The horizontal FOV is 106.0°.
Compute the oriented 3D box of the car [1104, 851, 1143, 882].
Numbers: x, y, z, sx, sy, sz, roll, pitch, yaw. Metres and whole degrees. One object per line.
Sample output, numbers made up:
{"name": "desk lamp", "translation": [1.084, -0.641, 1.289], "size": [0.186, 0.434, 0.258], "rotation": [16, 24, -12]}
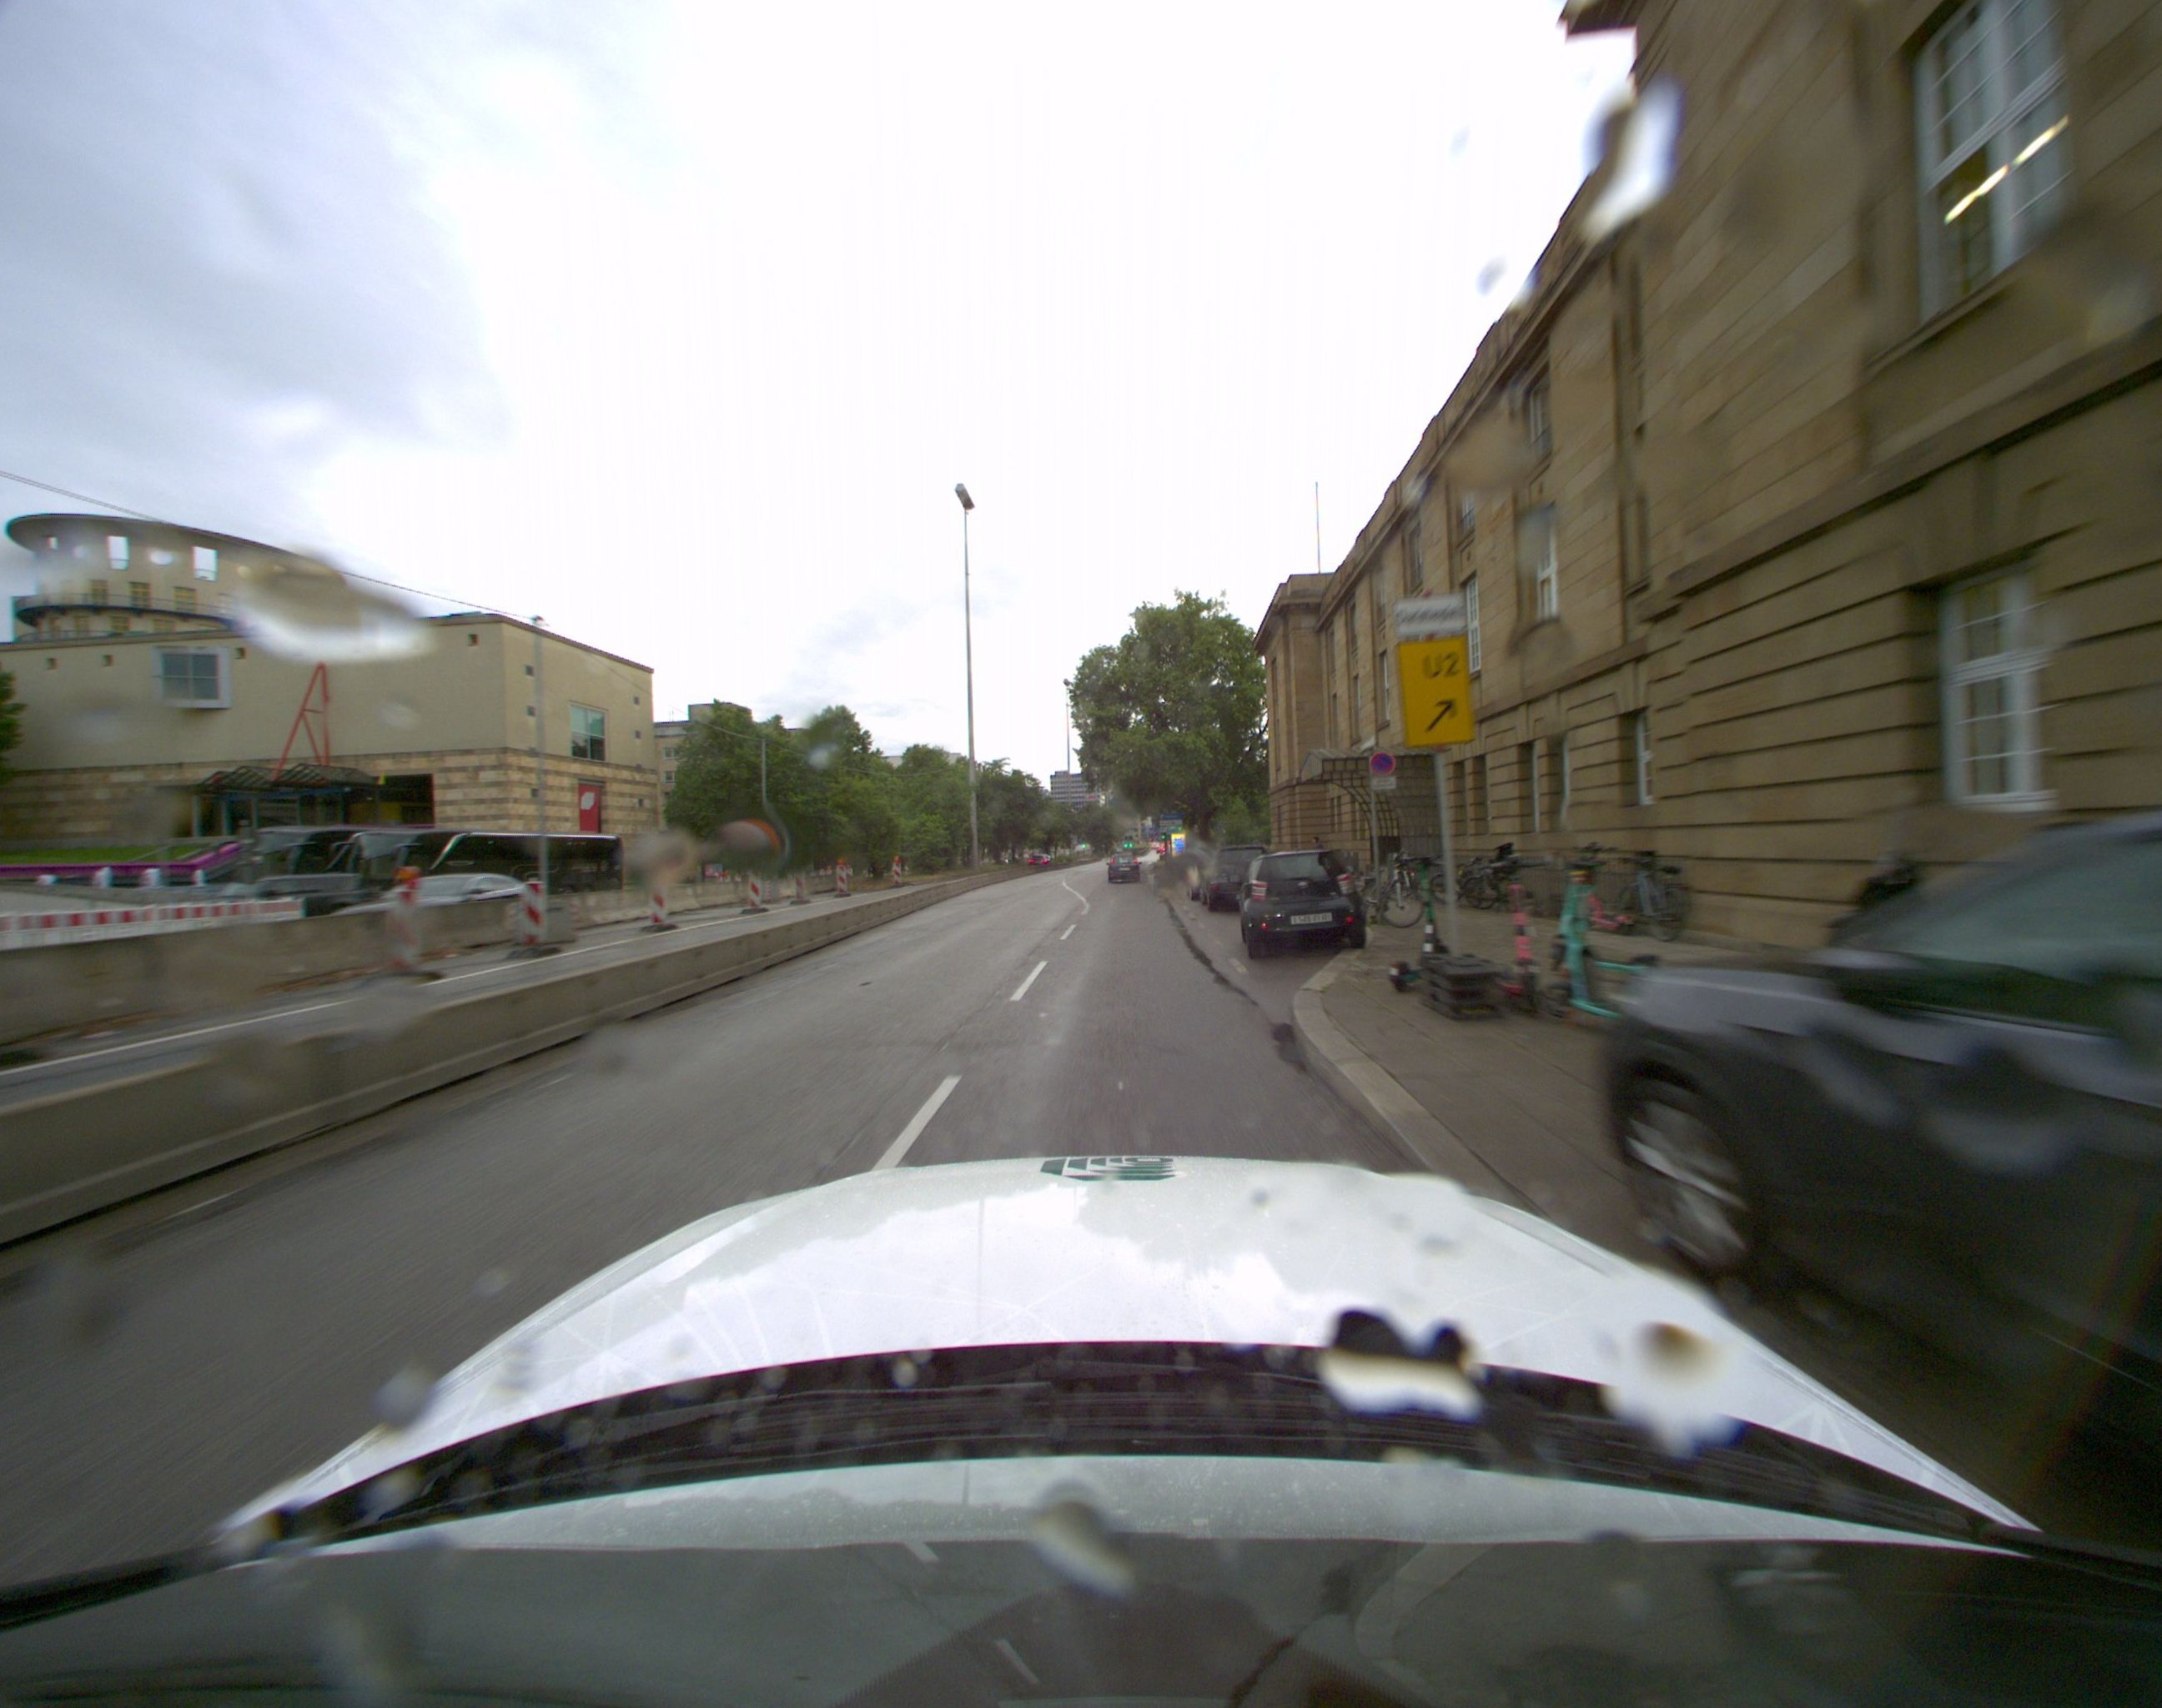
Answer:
{"name": "car", "translation": [2.175, 0.632, 42.271], "size": [1.837, 1.416, 3.840], "rotation": [-3, -1, 1]}

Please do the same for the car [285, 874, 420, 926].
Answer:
{"name": "car", "translation": [-24.925, 1.534, 28.011], "size": [1.585, 1.500, 3.215], "rotation": [-4, 0, 1]}

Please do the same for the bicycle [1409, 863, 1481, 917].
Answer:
{"name": "bicycle", "translation": [7.664, 0.725, 17.220], "size": [0.710, 1.051, 1.740], "rotation": [-1, 0, -1]}

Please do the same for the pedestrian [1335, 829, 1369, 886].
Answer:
{"name": "pedestrian", "translation": [8.851, 0.111, 26.632], "size": [0.791, 1.777, 0.643], "rotation": [-4, -1, 4]}

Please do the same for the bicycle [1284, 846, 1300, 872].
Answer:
{"name": "bicycle", "translation": [10.345, 0.226, 40.030], "size": [0.451, 1.251, 1.601], "rotation": [0, 0, 3]}

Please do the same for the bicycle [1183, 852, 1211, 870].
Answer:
{"name": "bicycle", "translation": [6.787, 0.402, 47.780], "size": [1.581, 0.994, 0.525], "rotation": [-1, 0, 6]}

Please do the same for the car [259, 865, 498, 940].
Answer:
{"name": "car", "translation": [-14.640, 0.924, 17.397], "size": [1.775, 1.262, 4.748], "rotation": [0, 1, -12]}

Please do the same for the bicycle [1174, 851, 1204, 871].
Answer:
{"name": "bicycle", "translation": [6.054, 0.385, 45.776], "size": [1.670, 1.090, 0.651], "rotation": [-1, 0, 6]}

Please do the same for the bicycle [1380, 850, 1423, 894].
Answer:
{"name": "bicycle", "translation": [7.935, 0.432, 20.220], "size": [0.580, 1.038, 1.762], "rotation": [-1, 0, 8]}

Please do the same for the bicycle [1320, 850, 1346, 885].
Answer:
{"name": "bicycle", "translation": [9.125, 0.471, 29.524], "size": [0.462, 1.215, 1.692], "rotation": [-1, 0, 2]}

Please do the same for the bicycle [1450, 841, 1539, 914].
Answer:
{"name": "bicycle", "translation": [7.729, 0.428, 15.321], "size": [0.728, 1.268, 1.758], "rotation": [-2, 0, -1]}

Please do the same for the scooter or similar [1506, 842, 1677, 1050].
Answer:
{"name": "scooter or similar", "translation": [3.556, 0.584, 5.757], "size": [0.433, 1.319, 1.075], "rotation": [-1, 0, -7]}

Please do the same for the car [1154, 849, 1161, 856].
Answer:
{"name": "car", "translation": [21.860, -0.479, 232.159], "size": [1.730, 1.771, 4.007], "rotation": [-3, -1, 6]}

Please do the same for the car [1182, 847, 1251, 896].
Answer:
{"name": "car", "translation": [4.395, 0.555, 26.915], "size": [1.923, 1.478, 3.707], "rotation": [-1, 0, 4]}

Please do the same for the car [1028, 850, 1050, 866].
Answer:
{"name": "car", "translation": [-3.728, 0.353, 73.072], "size": [1.748, 1.451, 3.999], "rotation": [-1, 0, 0]}

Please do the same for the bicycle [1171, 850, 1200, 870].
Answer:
{"name": "bicycle", "translation": [6.028, 0.366, 47.091], "size": [1.670, 1.122, 0.602], "rotation": [-1, 0, 6]}

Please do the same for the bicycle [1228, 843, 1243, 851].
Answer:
{"name": "bicycle", "translation": [23.265, -1.070, 122.720], "size": [2.031, 1.173, 0.958], "rotation": [-2, 1, -5]}

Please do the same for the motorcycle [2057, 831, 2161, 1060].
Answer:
{"name": "motorcycle", "translation": [6.467, 0.513, 4.207], "size": [0.802, 1.298, 1.803], "rotation": [-1, 0, 8]}

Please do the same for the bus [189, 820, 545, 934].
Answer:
{"name": "bus", "translation": [-31.330, 0.787, 37.365], "size": [3.102, 4.252, 13.523], "rotation": [0, 1, 8]}

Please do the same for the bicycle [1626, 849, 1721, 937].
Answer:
{"name": "bicycle", "translation": [7.691, 0.471, 10.647], "size": [0.415, 1.049, 1.779], "rotation": [-1, 0, 17]}

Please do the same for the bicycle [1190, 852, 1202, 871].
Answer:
{"name": "bicycle", "translation": [7.429, 0.458, 52.567], "size": [0.601, 1.197, 1.911], "rotation": [-3, -1, 12]}

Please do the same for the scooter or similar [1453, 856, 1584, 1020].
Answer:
{"name": "scooter or similar", "translation": [3.583, 0.642, 6.759], "size": [0.432, 1.216, 1.122], "rotation": [-4, 0, 1]}

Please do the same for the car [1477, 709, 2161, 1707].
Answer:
{"name": "car", "translation": [2.664, 0.538, 1.533], "size": [1.863, 1.619, 4.409], "rotation": [-3, 0, 3]}

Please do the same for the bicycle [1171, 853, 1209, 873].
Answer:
{"name": "bicycle", "translation": [5.923, 0.498, 44.220], "size": [1.978, 1.060, 0.760], "rotation": [-1, 0, 1]}

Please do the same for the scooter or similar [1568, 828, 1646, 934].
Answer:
{"name": "scooter or similar", "translation": [7.411, 0.359, 11.527], "size": [0.410, 1.417, 1.271], "rotation": [-1, 0, 8]}

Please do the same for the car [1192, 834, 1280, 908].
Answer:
{"name": "car", "translation": [4.065, 0.419, 21.977], "size": [1.983, 1.781, 4.196], "rotation": [-1, 0, 6]}

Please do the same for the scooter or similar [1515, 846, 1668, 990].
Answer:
{"name": "scooter or similar", "translation": [4.960, 0.583, 7.991], "size": [0.435, 1.293, 1.249], "rotation": [-1, 0, -20]}

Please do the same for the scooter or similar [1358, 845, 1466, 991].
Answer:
{"name": "scooter or similar", "translation": [3.375, 0.600, 8.267], "size": [1.338, 1.368, 0.430], "rotation": [-1, -1, -41]}

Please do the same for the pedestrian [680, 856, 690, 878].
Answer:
{"name": "pedestrian", "translation": [-35.650, 1.167, 73.324], "size": [0.475, 2.014, 0.512], "rotation": [-3, -1, 4]}

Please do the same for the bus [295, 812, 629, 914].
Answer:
{"name": "bus", "translation": [-27.404, 0.257, 37.950], "size": [2.788, 3.811, 14.630], "rotation": [0, 1, 8]}

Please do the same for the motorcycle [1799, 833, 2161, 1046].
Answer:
{"name": "motorcycle", "translation": [6.602, 0.539, 6.165], "size": [0.663, 1.326, 2.139], "rotation": [-1, 0, 8]}

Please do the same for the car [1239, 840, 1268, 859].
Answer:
{"name": "car", "translation": [16.657, -0.471, 78.925], "size": [1.985, 1.609, 5.242], "rotation": [-1, 2, 3]}

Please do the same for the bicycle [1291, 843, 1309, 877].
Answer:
{"name": "bicycle", "translation": [10.122, 0.261, 37.609], "size": [0.452, 1.515, 1.600], "rotation": [0, 0, 2]}

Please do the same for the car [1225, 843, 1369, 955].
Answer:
{"name": "car", "translation": [3.178, 0.616, 12.552], "size": [1.748, 1.414, 3.160], "rotation": [-4, -1, 9]}

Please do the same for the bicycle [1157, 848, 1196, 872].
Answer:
{"name": "bicycle", "translation": [5.527, 0.363, 47.028], "size": [2.180, 1.336, 0.651], "rotation": [-1, 0, 6]}

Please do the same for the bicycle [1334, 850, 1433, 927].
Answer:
{"name": "bicycle", "translation": [5.266, 0.578, 14.348], "size": [0.775, 1.218, 1.961], "rotation": [-3, 0, -7]}

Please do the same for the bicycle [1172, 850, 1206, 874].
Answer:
{"name": "bicycle", "translation": [6.127, 0.441, 46.343], "size": [1.896, 1.332, 0.651], "rotation": [-1, 0, 6]}
